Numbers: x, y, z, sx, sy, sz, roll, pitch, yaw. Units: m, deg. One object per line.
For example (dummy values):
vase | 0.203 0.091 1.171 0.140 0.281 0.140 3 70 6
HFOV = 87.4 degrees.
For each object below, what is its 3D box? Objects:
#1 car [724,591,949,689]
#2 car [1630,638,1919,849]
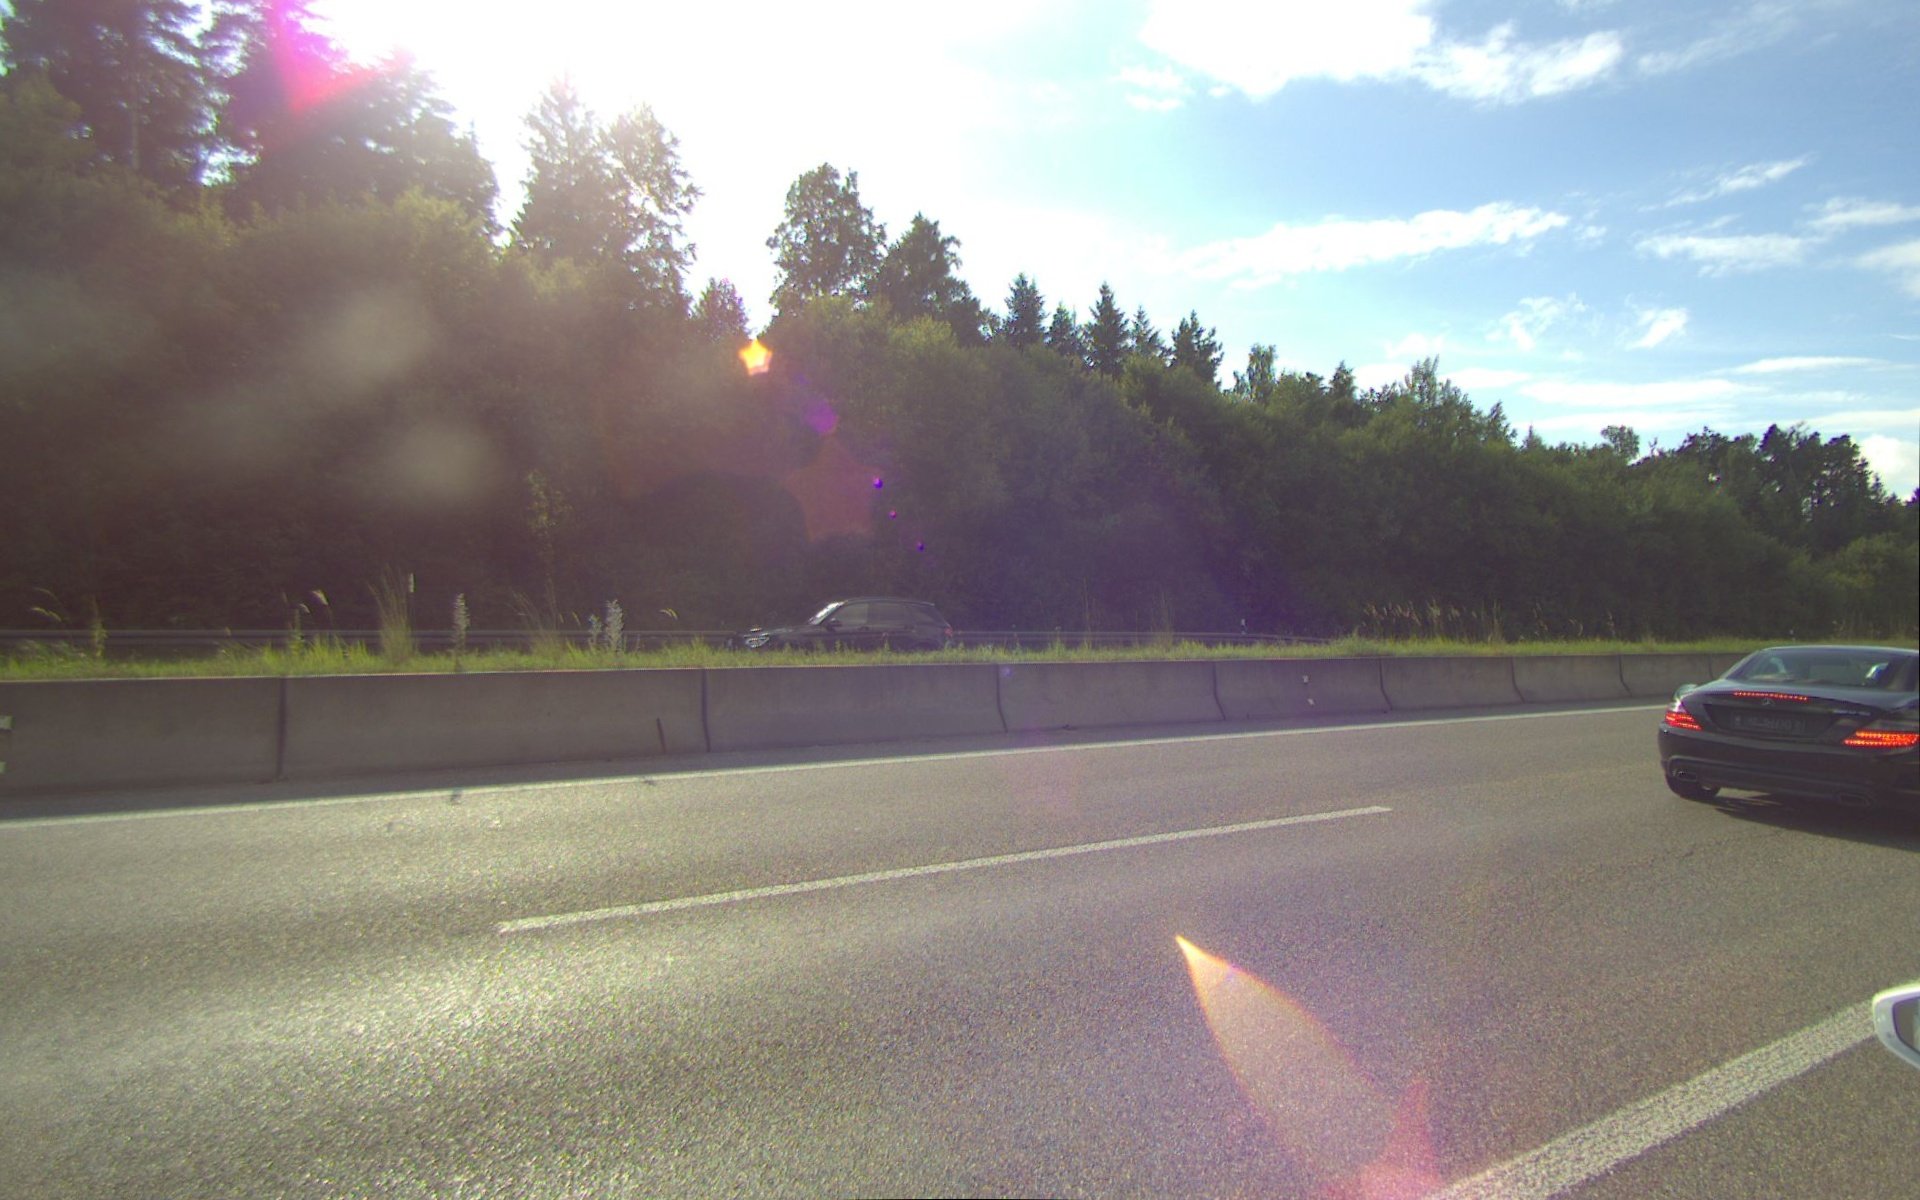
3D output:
car | -2.391 0.736 19.613 3.953 1.740 1.897 1 0 -30
car | 7.570 0.998 8.319 4.149 1.300 1.736 1 0 -30
